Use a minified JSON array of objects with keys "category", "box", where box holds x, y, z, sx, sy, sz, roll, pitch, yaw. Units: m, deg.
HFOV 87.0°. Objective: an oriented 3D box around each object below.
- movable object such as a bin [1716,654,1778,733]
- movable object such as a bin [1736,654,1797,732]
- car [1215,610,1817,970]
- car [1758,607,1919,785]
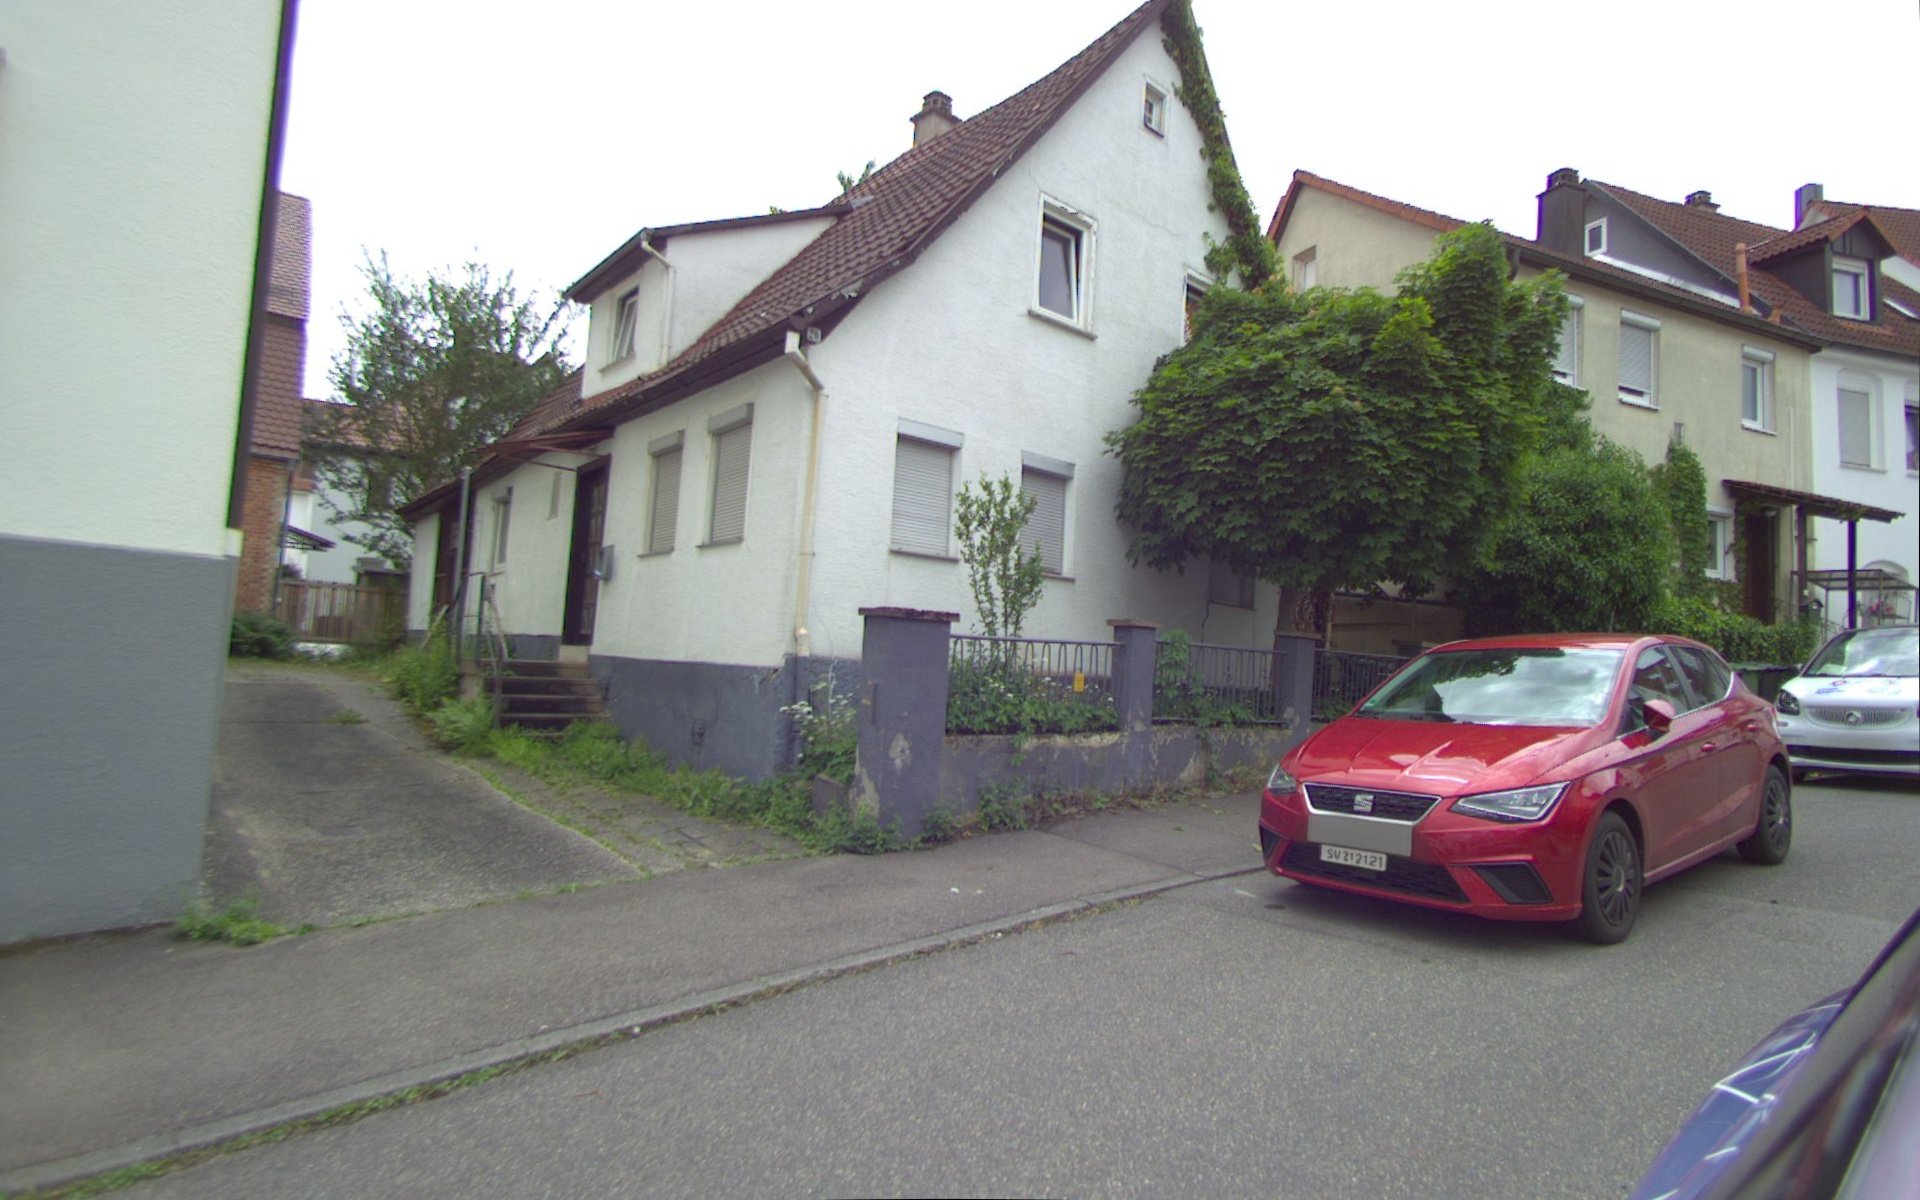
[{"category":"movable object such as a bin","box":[9.760,1.148,12.549,0.436,0.925,0.440,0,1,-22]},{"category":"movable object such as a bin","box":[10.192,1.165,12.788,0.436,0.910,0.440,0,1,-22]},{"category":"car","box":[3.414,0.826,5.979,3.780,1.471,1.683,1,-3,-37]},{"category":"car","box":[9.510,0.890,9.841,2.838,1.553,1.617,1,-5,-27]}]
